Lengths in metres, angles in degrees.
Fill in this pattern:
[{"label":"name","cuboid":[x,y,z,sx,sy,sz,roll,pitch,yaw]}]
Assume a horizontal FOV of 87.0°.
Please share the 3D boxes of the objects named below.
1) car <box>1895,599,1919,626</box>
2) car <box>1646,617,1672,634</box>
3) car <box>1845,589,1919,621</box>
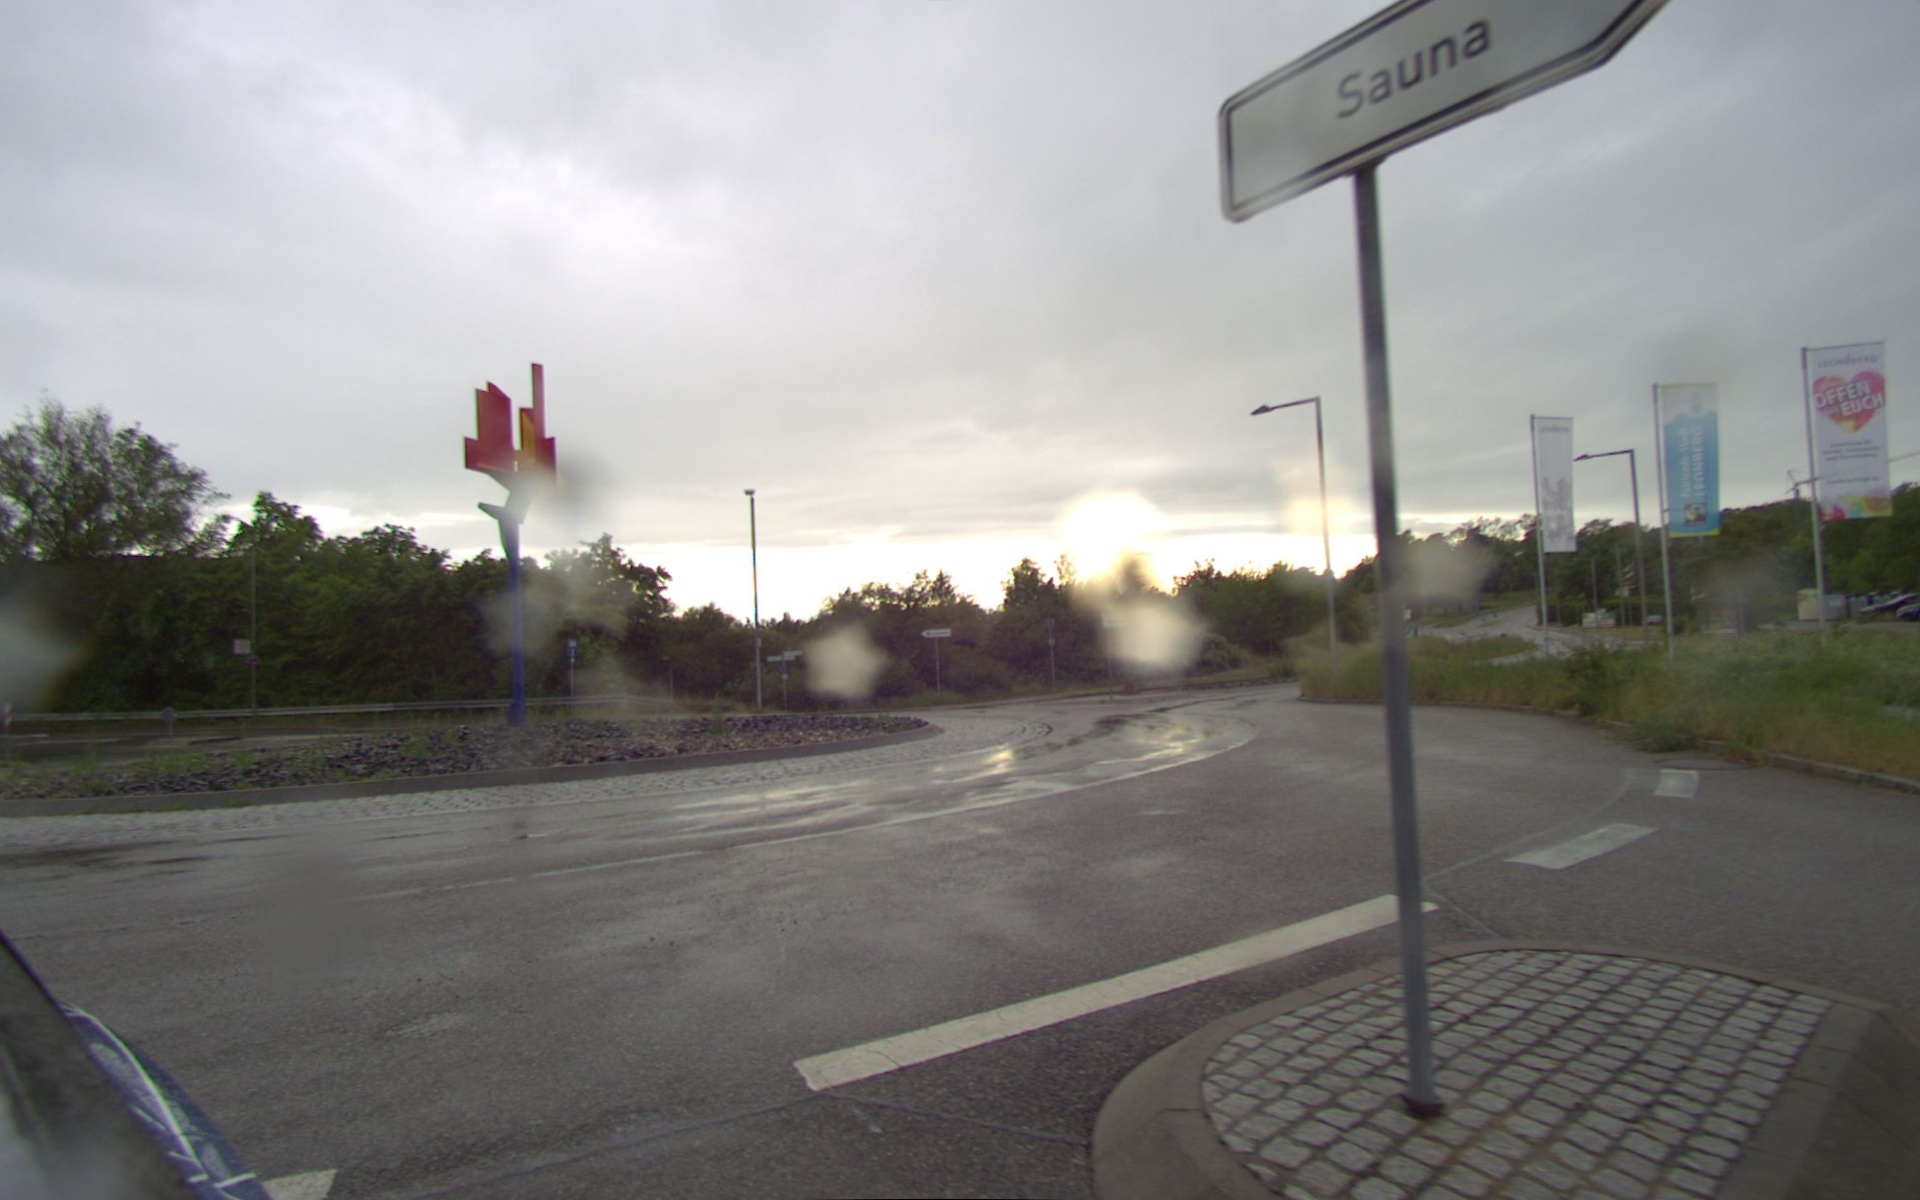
[{"label":"car","cuboid":[51.921,0.479,52.961,3.988,1.374,1.878,-8,-6,33]},{"label":"car","cuboid":[74.429,2.769,107.802,1.690,1.580,4.496,-8,-6,29]},{"label":"car","cuboid":[54.839,0.287,58.817,4.704,1.706,1.984,-4,-3,31]}]
